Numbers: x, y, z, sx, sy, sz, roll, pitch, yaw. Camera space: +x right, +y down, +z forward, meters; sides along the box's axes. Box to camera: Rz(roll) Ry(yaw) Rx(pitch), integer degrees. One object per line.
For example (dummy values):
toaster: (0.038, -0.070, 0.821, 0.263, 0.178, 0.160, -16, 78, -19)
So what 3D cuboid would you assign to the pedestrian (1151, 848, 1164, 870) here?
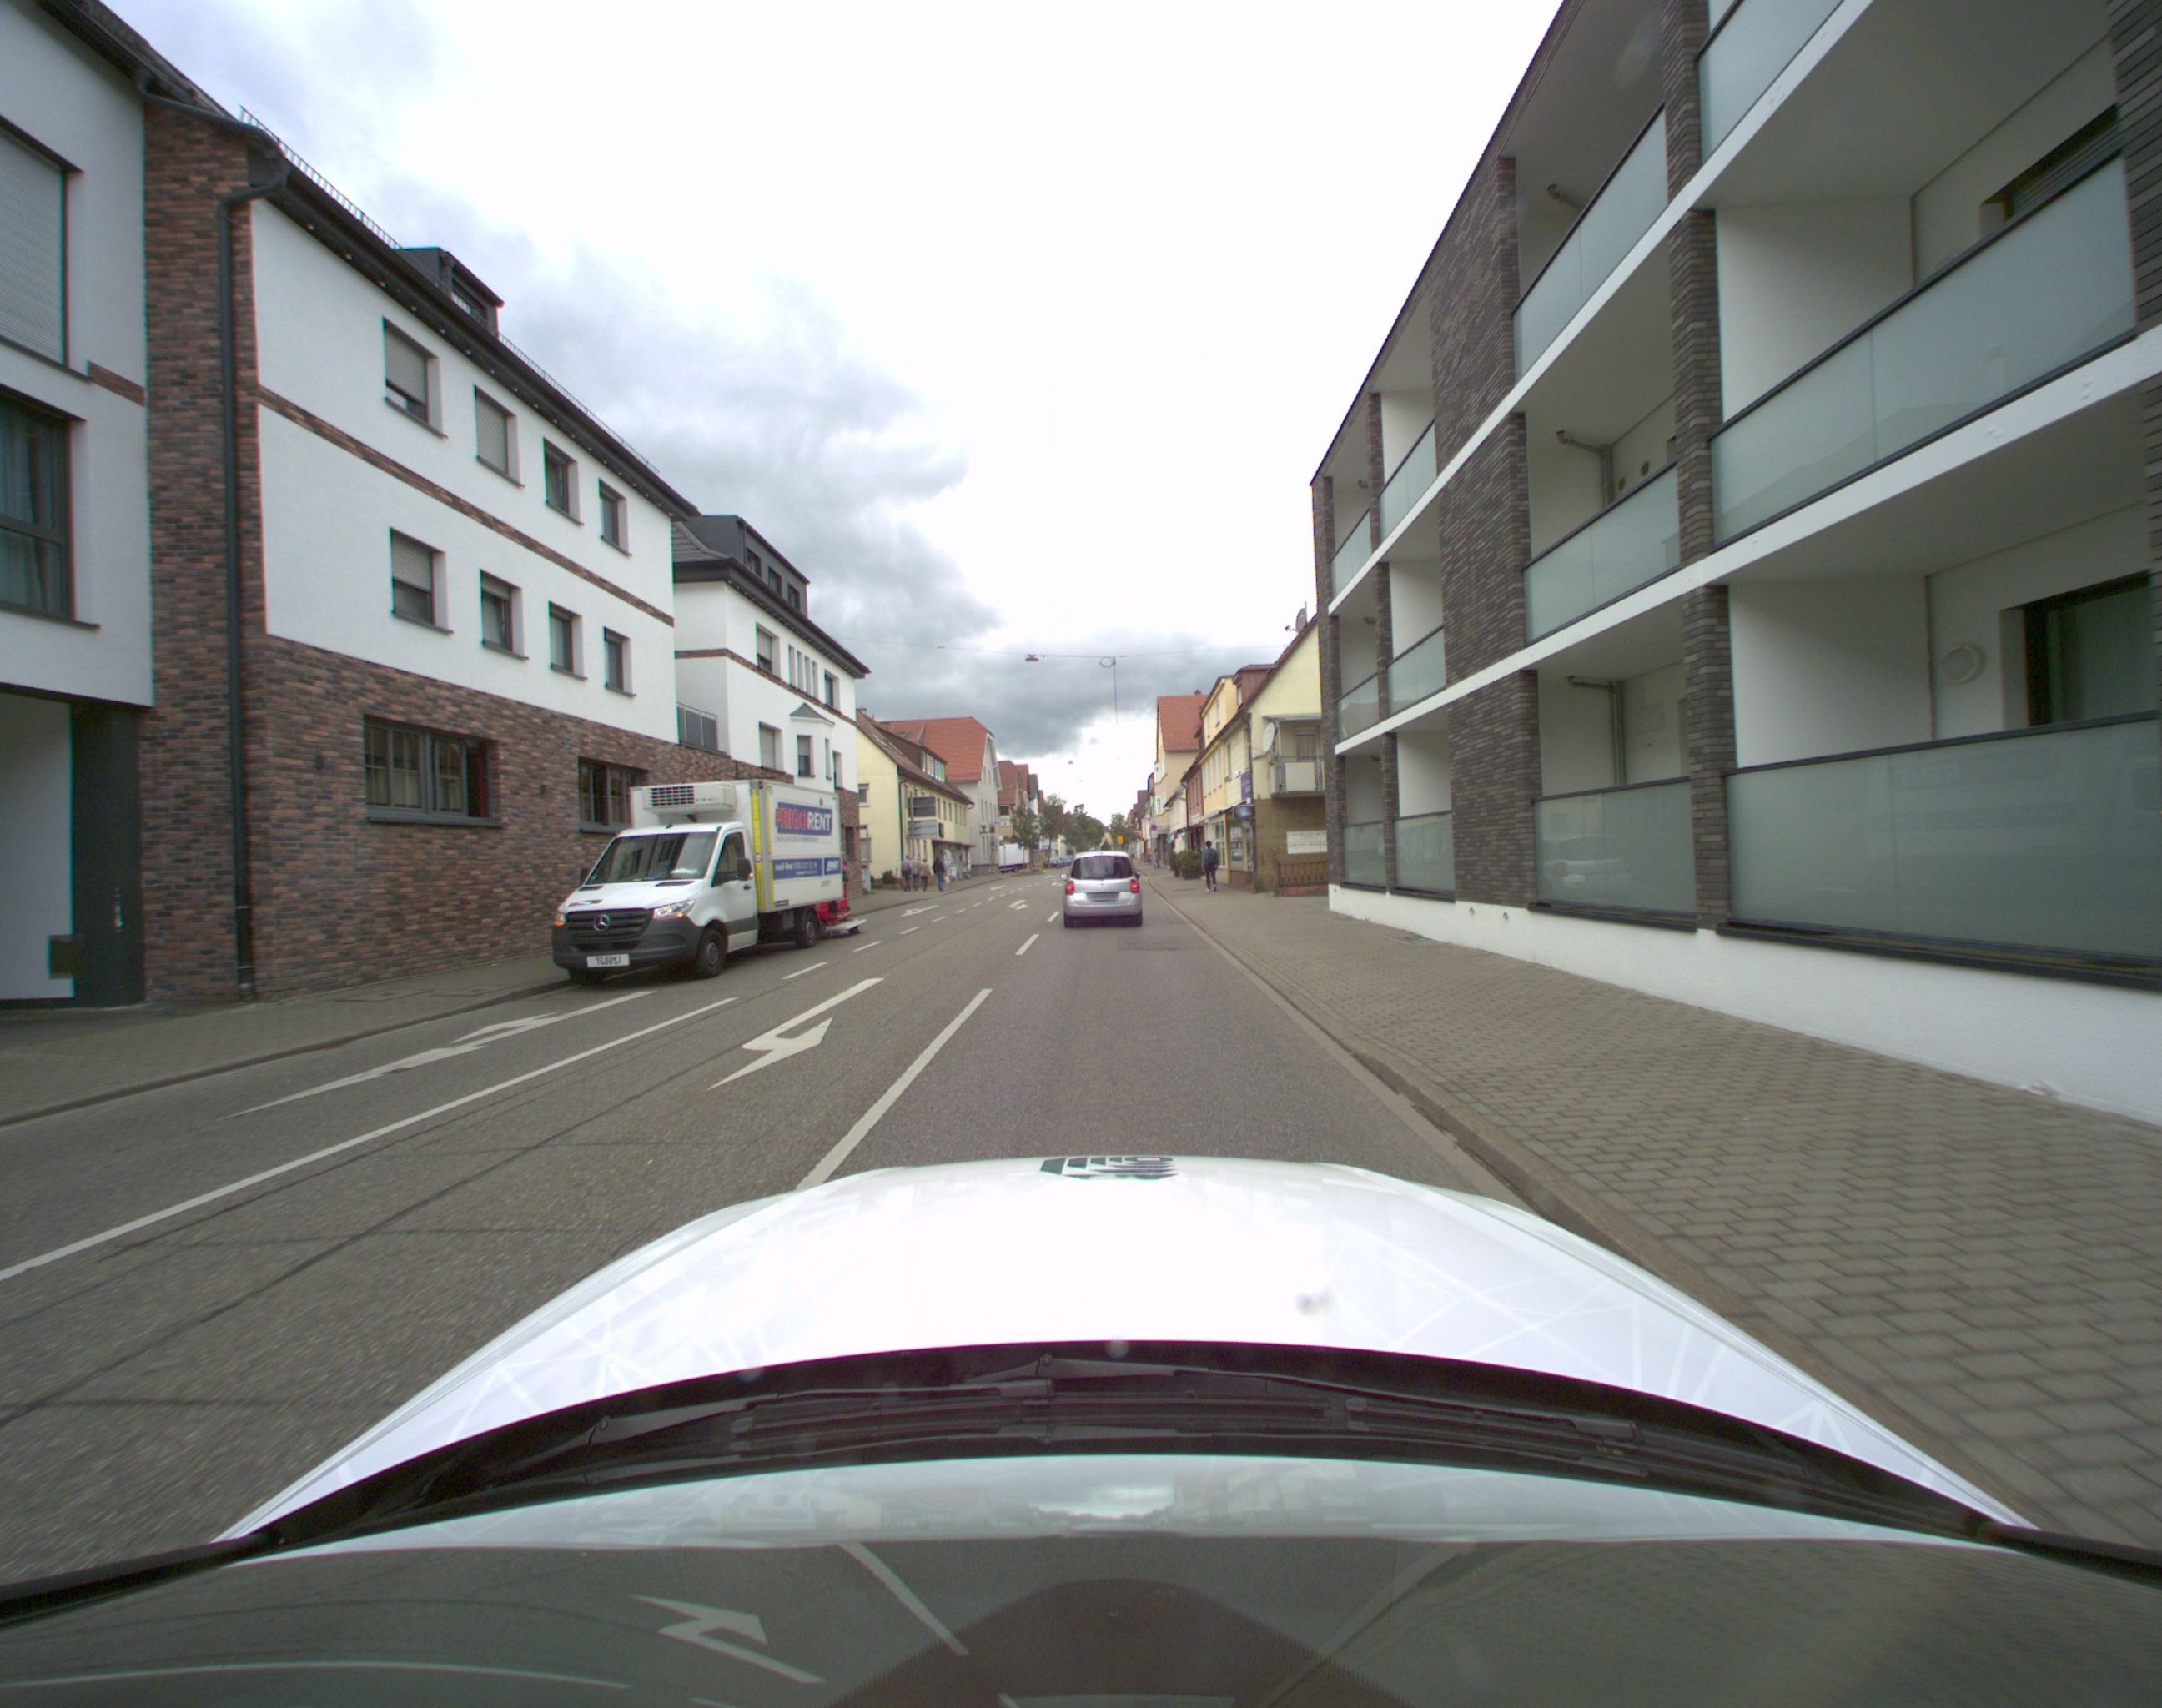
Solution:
pedestrian: (6.642, 0.411, 70.922, 0.886, 1.786, 0.785, -6, 0, 2)

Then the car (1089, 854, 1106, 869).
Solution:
car: (1.748, 0.781, 85.851, 1.700, 1.579, 4.001, -1, 0, 1)

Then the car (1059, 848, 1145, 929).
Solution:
car: (0.462, 0.691, 18.422, 1.700, 1.579, 4.001, -1, 0, 1)

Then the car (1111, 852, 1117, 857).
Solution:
car: (10.377, 0.247, 256.337, 1.806, 1.354, 4.002, -4, 0, 2)

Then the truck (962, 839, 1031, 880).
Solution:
truck: (-8.635, 0.522, 84.012, 2.571, 3.857, 6.890, -4, 0, 44)

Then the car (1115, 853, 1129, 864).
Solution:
car: (5.610, 0.613, 111.575, 1.806, 1.354, 4.002, -4, 0, 2)

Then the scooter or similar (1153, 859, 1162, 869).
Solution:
scooter or similar: (6.712, 0.874, 71.740, 0.678, 0.833, 0.823, -6, 0, 2)

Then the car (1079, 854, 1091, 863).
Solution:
car: (0.704, 0.780, 133.512, 1.806, 1.354, 3.859, -4, 0, 2)

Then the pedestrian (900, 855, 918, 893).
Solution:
pedestrian: (-8.173, 0.938, 38.680, 0.645, 1.757, 0.688, -1, 0, 2)

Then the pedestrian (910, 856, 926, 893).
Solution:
pedestrian: (-7.974, 1.009, 39.820, 0.577, 1.757, 0.688, -1, 0, 2)

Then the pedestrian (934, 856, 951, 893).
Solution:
pedestrian: (-6.698, 0.992, 39.382, 0.660, 1.757, 0.688, -1, 0, 2)

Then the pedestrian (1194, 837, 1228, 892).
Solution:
pedestrian: (4.490, 0.349, 28.164, 0.886, 1.786, 0.785, -6, 0, 2)

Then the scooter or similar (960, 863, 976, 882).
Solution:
scooter or similar: (-8.166, 1.318, 58.933, 0.573, 1.269, 2.550, -4, 0, 2)

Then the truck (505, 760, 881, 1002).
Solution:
truck: (-5.998, 0.343, 14.616, 2.426, 2.953, 8.366, -3, 0, 1)

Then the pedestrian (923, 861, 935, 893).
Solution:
pedestrian: (-7.408, 1.099, 39.642, 0.424, 1.525, 0.554, -1, 0, 2)

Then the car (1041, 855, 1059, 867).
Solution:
car: (-3.848, 0.870, 101.400, 1.806, 1.354, 4.002, -4, 0, 2)
